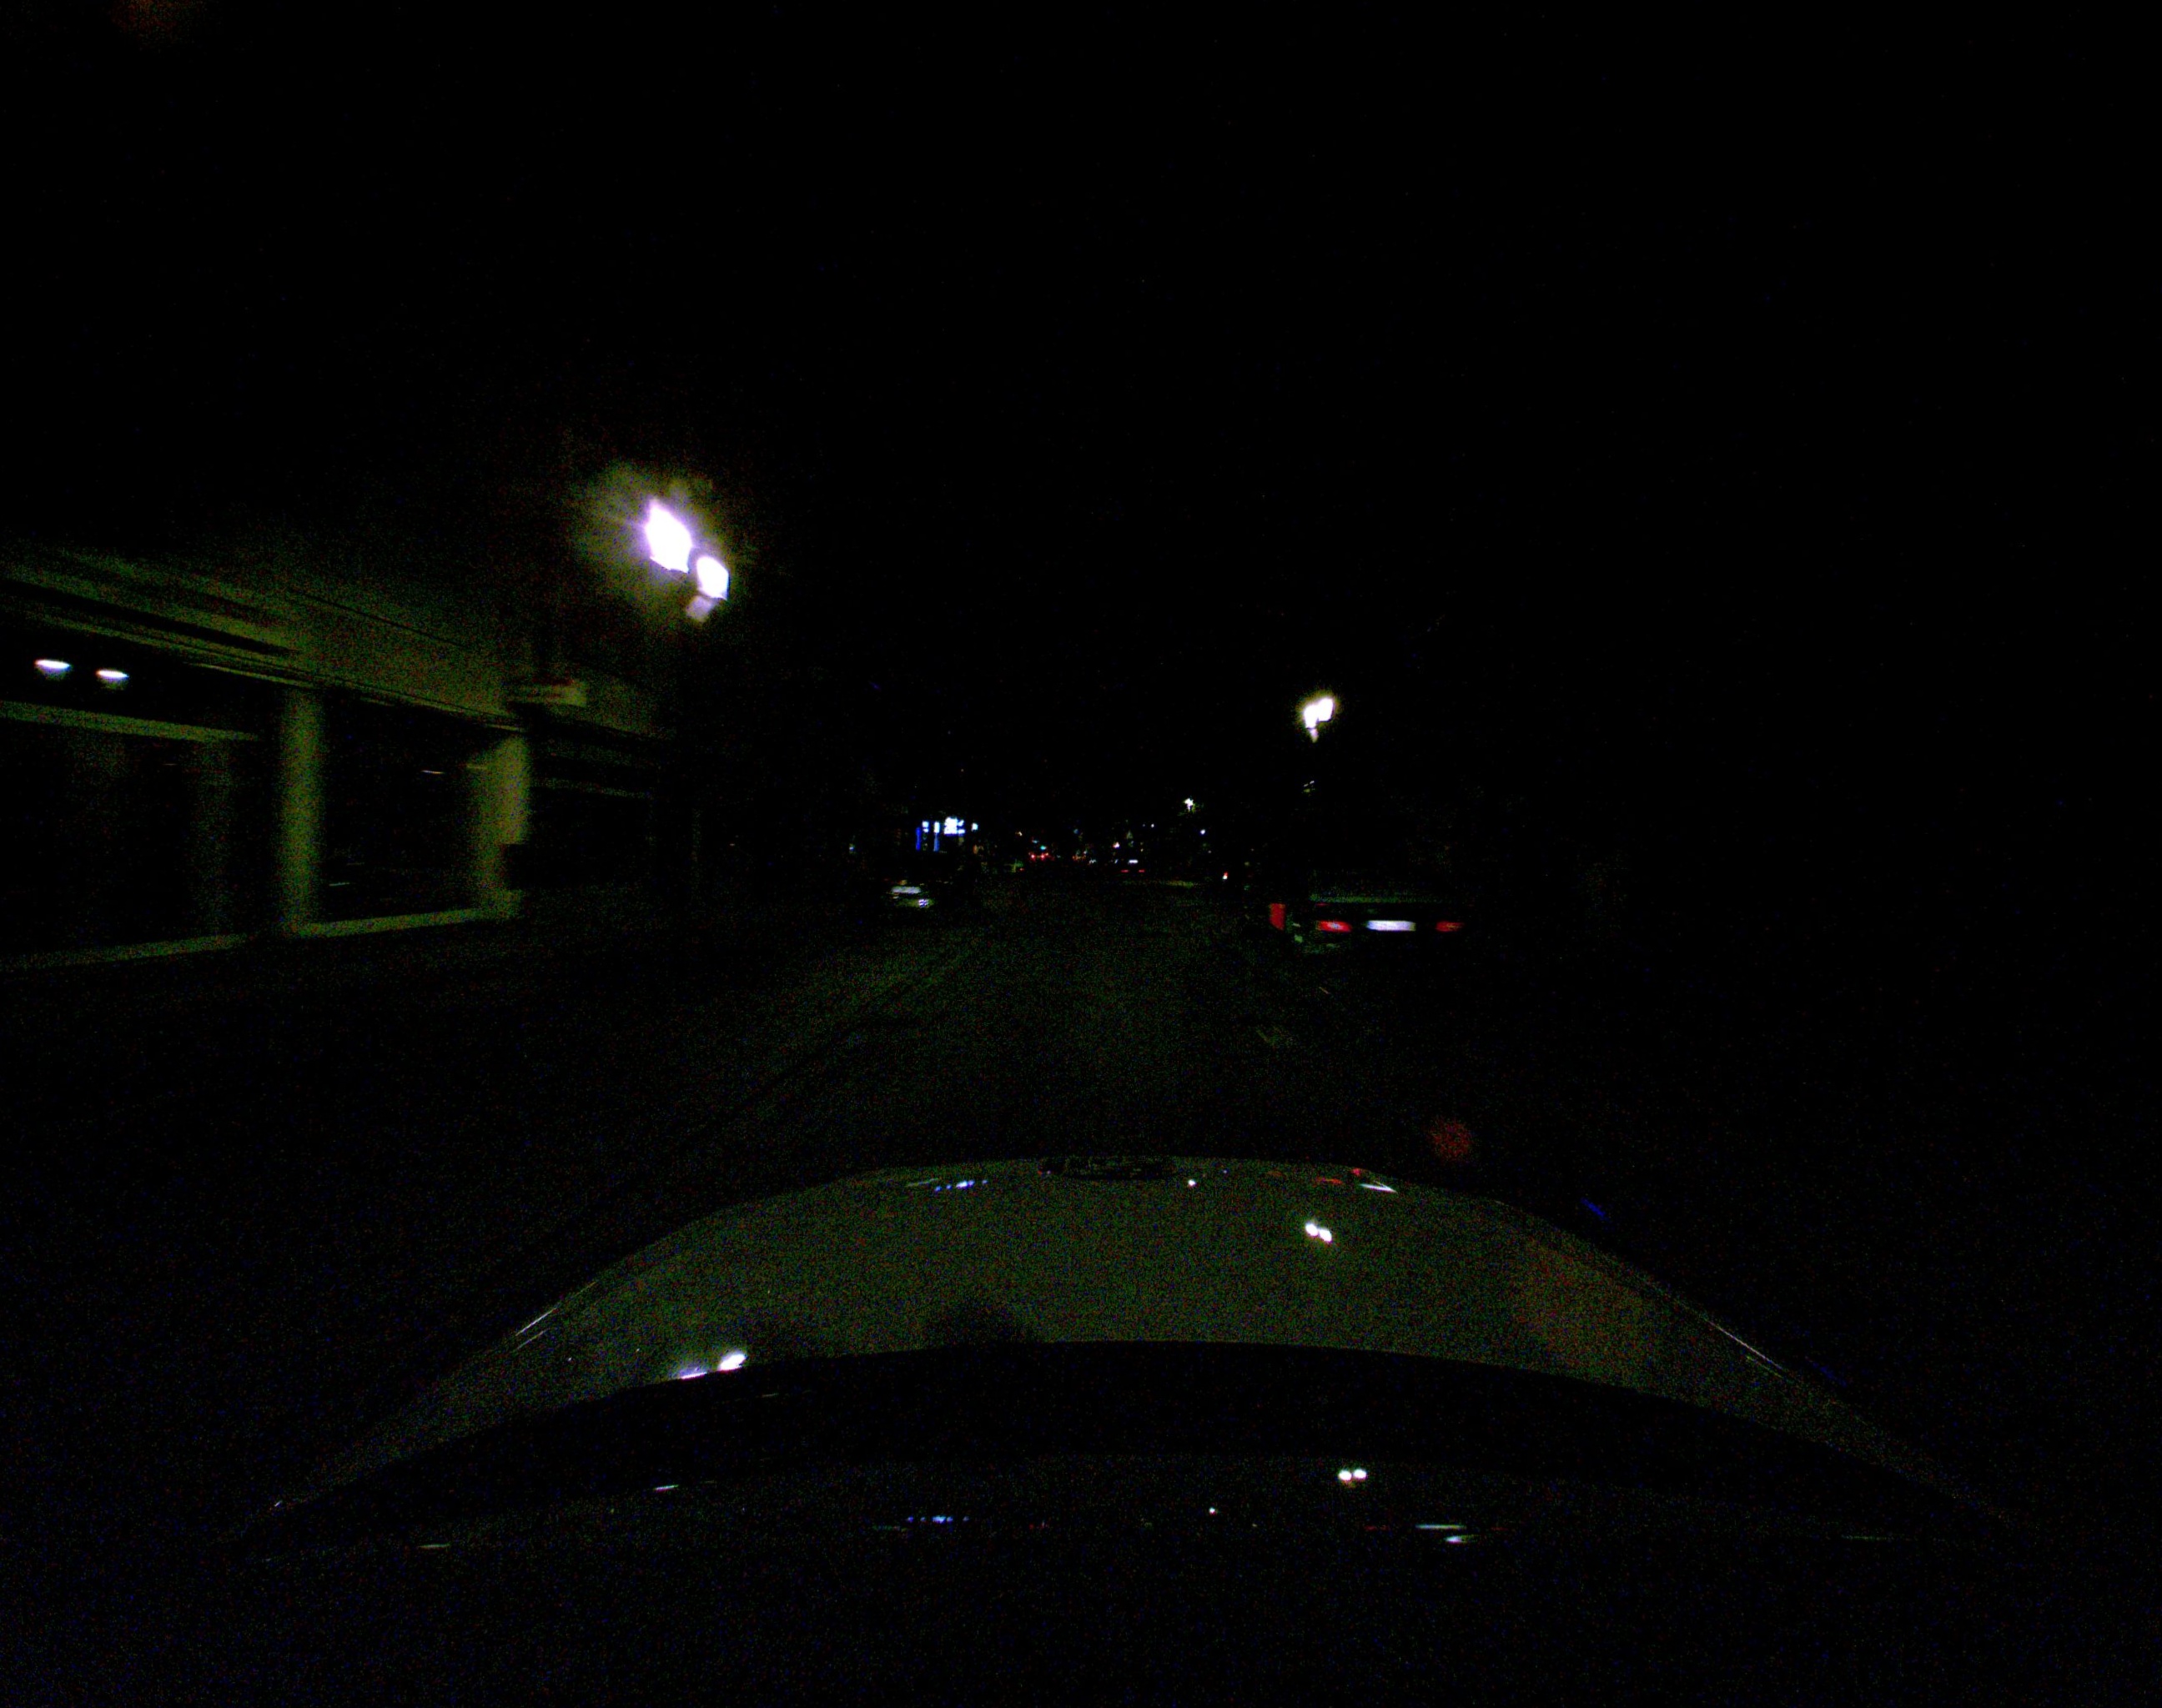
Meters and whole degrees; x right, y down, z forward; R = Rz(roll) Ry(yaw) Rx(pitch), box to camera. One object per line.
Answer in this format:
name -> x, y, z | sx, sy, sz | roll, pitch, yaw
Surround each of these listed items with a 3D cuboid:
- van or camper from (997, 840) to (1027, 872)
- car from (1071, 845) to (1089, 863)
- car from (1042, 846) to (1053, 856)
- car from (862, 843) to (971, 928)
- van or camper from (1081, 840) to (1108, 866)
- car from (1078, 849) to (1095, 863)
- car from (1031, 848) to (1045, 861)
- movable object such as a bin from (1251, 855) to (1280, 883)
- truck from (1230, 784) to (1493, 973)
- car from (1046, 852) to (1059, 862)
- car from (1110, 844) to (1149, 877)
van or camper -> -4.629, 0.125, 55.041 | 1.863, 2.011, 4.255 | 3, 0, -5
car -> -0.096, 0.000, 93.270 | 1.835, 1.901, 3.841 | 1, 0, -3
car -> -6.313, -0.546, 152.913 | 1.990, 1.823, 3.994 | 1, 0, -5
car -> -3.370, 0.583, 17.414 | 1.670, 1.543, 4.225 | 2, 0, -4
van or camper -> 1.201, -0.105, 74.346 | 2.105, 2.317, 4.255 | 0, 0, -5
car -> 0.570, 0.162, 87.175 | 1.528, 1.418, 3.841 | 1, 0, -3
car -> -6.358, 0.018, 120.324 | 1.990, 1.823, 3.993 | 1, 0, -5
movable object such as a bin -> 9.063, 0.713, 40.039 | 1.102, 1.307, 1.008 | 2, -1, -5
truck -> 3.990, 0.292, 12.950 | 2.327, 2.312, 5.783 | 1, 0, 2
car -> -4.272, 0.440, 120.523 | 1.835, 1.542, 3.841 | 1, 0, -3
car -> 2.826, 0.344, 48.290 | 1.811, 1.828, 4.341 | 1, 0, -4
